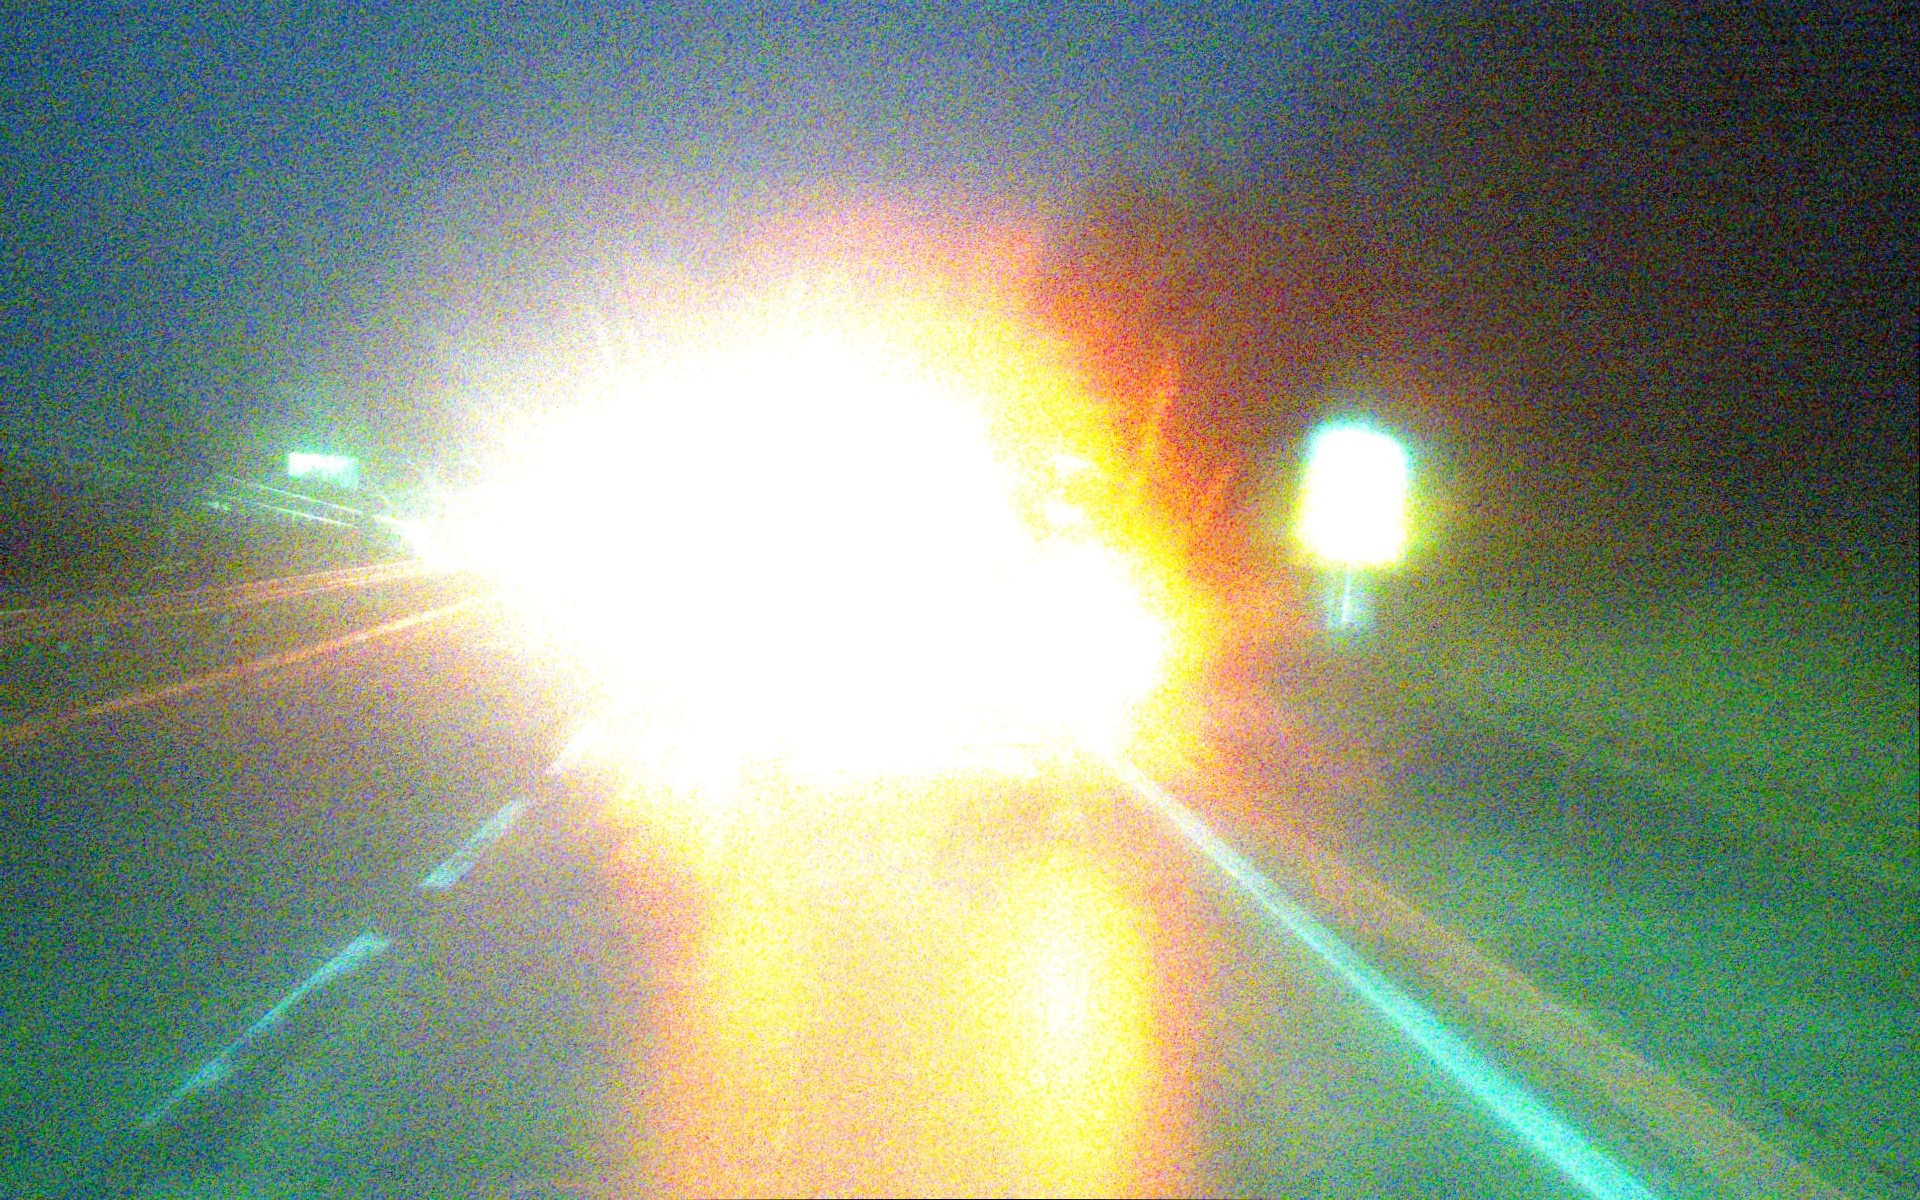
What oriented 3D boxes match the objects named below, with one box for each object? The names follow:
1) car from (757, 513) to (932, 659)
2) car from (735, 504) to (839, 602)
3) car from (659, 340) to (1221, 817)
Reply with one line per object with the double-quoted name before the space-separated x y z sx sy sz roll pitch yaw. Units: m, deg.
"car" -1.405 -0.206 39.939 1.879 1.575 4.786 1 1 -4
"car" -3.517 -0.983 70.381 1.993 1.908 4.000 1 1 -2
"car" -0.153 -0.184 19.759 2.715 2.299 6.101 0 2 -1
